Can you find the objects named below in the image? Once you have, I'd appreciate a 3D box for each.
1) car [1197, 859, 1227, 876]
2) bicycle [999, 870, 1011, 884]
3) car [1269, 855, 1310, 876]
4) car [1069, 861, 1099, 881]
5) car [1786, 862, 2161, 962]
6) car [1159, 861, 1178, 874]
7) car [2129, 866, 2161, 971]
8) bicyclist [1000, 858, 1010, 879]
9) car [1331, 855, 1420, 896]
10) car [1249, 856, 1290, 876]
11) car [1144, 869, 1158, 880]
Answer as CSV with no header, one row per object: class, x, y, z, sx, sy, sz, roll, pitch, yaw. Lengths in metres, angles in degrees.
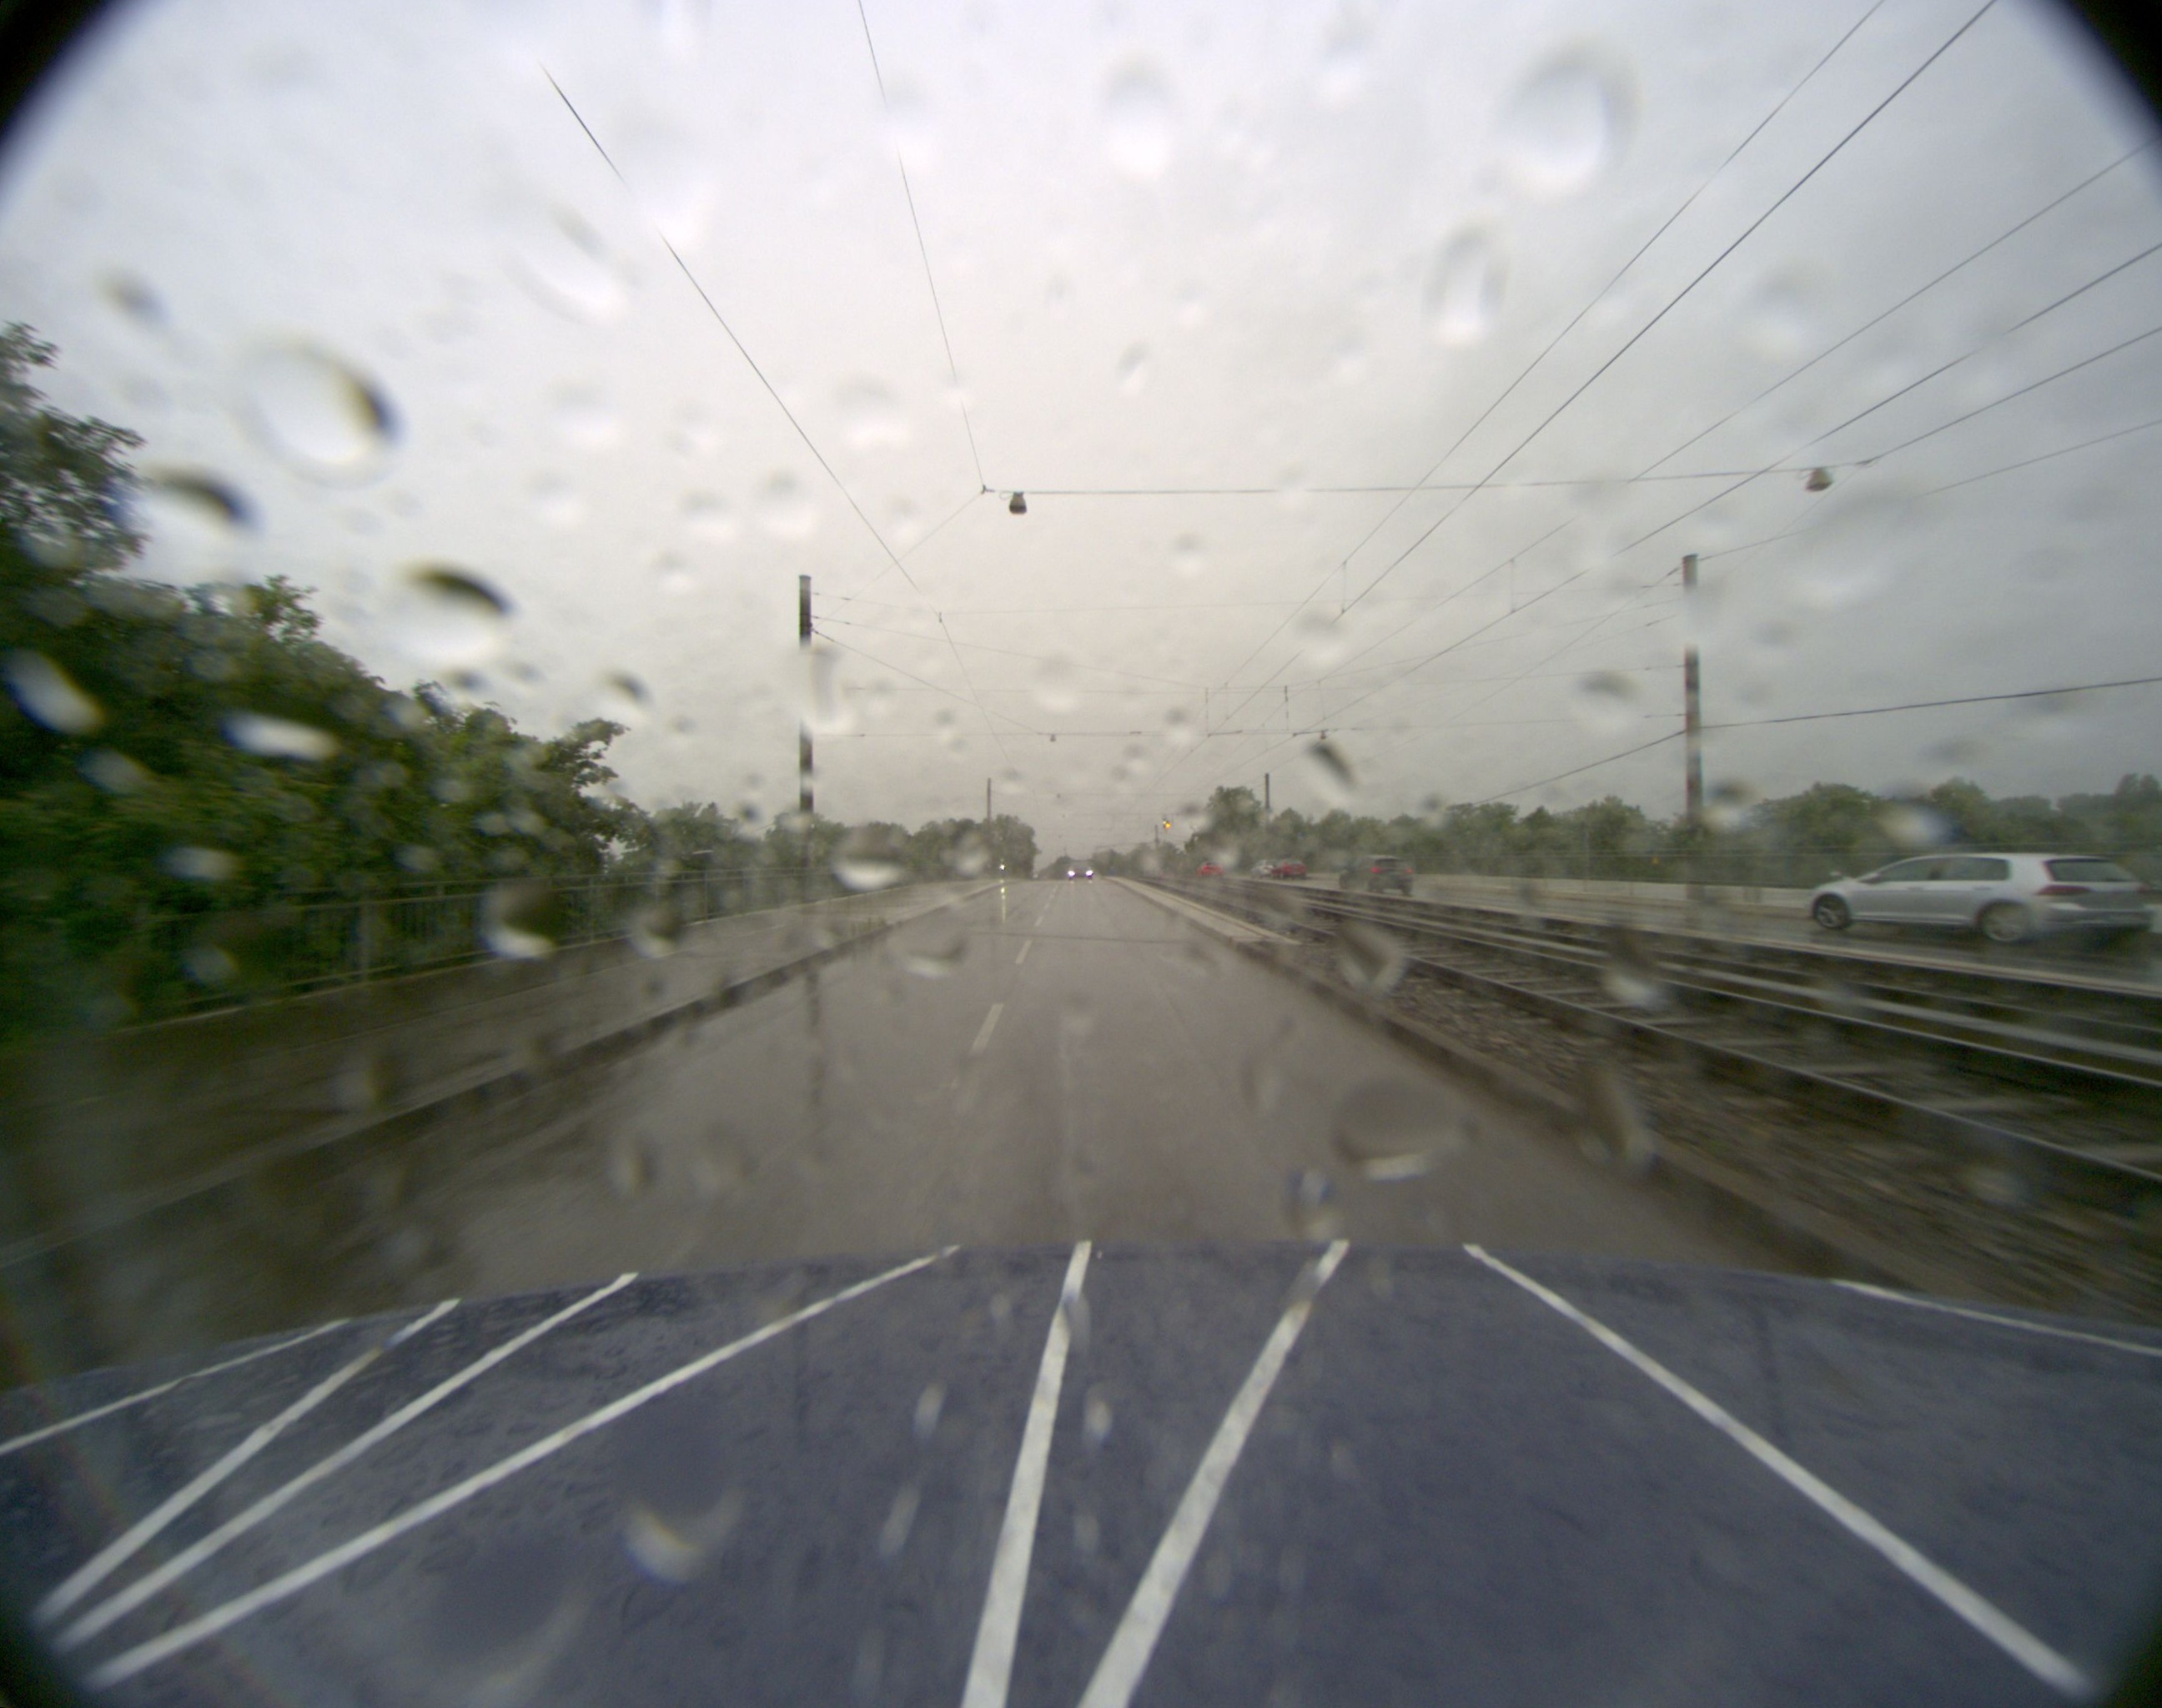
car,11.000,1.125,63.989,1.804,1.308,4.084,-3,-1,0
bicycle,-6.504,1.990,65.140,0.725,1.122,2.168,-3,-2,0
car,14.735,0.815,53.994,1.624,1.447,4.322,1,-1,-1
car,0.200,1.400,62.430,1.999,1.497,4.196,-3,-2,-5
car,15.253,0.888,13.236,1.868,1.447,4.319,1,-1,-1
car,11.055,1.705,96.273,1.804,1.473,4.084,-3,-1,0
car,15.193,0.832,8.307,1.510,1.392,4.281,1,-1,-2
bicyclist,-6.535,1.237,65.128,0.727,1.753,0.949,-3,0,-1
car,11.577,0.903,30.183,1.820,1.359,4.267,-3,-4,0
car,14.753,0.935,59.710,1.999,1.447,4.620,1,-1,-1
car,10.820,3.145,117.702,1.822,1.644,4.000,-3,-1,0
